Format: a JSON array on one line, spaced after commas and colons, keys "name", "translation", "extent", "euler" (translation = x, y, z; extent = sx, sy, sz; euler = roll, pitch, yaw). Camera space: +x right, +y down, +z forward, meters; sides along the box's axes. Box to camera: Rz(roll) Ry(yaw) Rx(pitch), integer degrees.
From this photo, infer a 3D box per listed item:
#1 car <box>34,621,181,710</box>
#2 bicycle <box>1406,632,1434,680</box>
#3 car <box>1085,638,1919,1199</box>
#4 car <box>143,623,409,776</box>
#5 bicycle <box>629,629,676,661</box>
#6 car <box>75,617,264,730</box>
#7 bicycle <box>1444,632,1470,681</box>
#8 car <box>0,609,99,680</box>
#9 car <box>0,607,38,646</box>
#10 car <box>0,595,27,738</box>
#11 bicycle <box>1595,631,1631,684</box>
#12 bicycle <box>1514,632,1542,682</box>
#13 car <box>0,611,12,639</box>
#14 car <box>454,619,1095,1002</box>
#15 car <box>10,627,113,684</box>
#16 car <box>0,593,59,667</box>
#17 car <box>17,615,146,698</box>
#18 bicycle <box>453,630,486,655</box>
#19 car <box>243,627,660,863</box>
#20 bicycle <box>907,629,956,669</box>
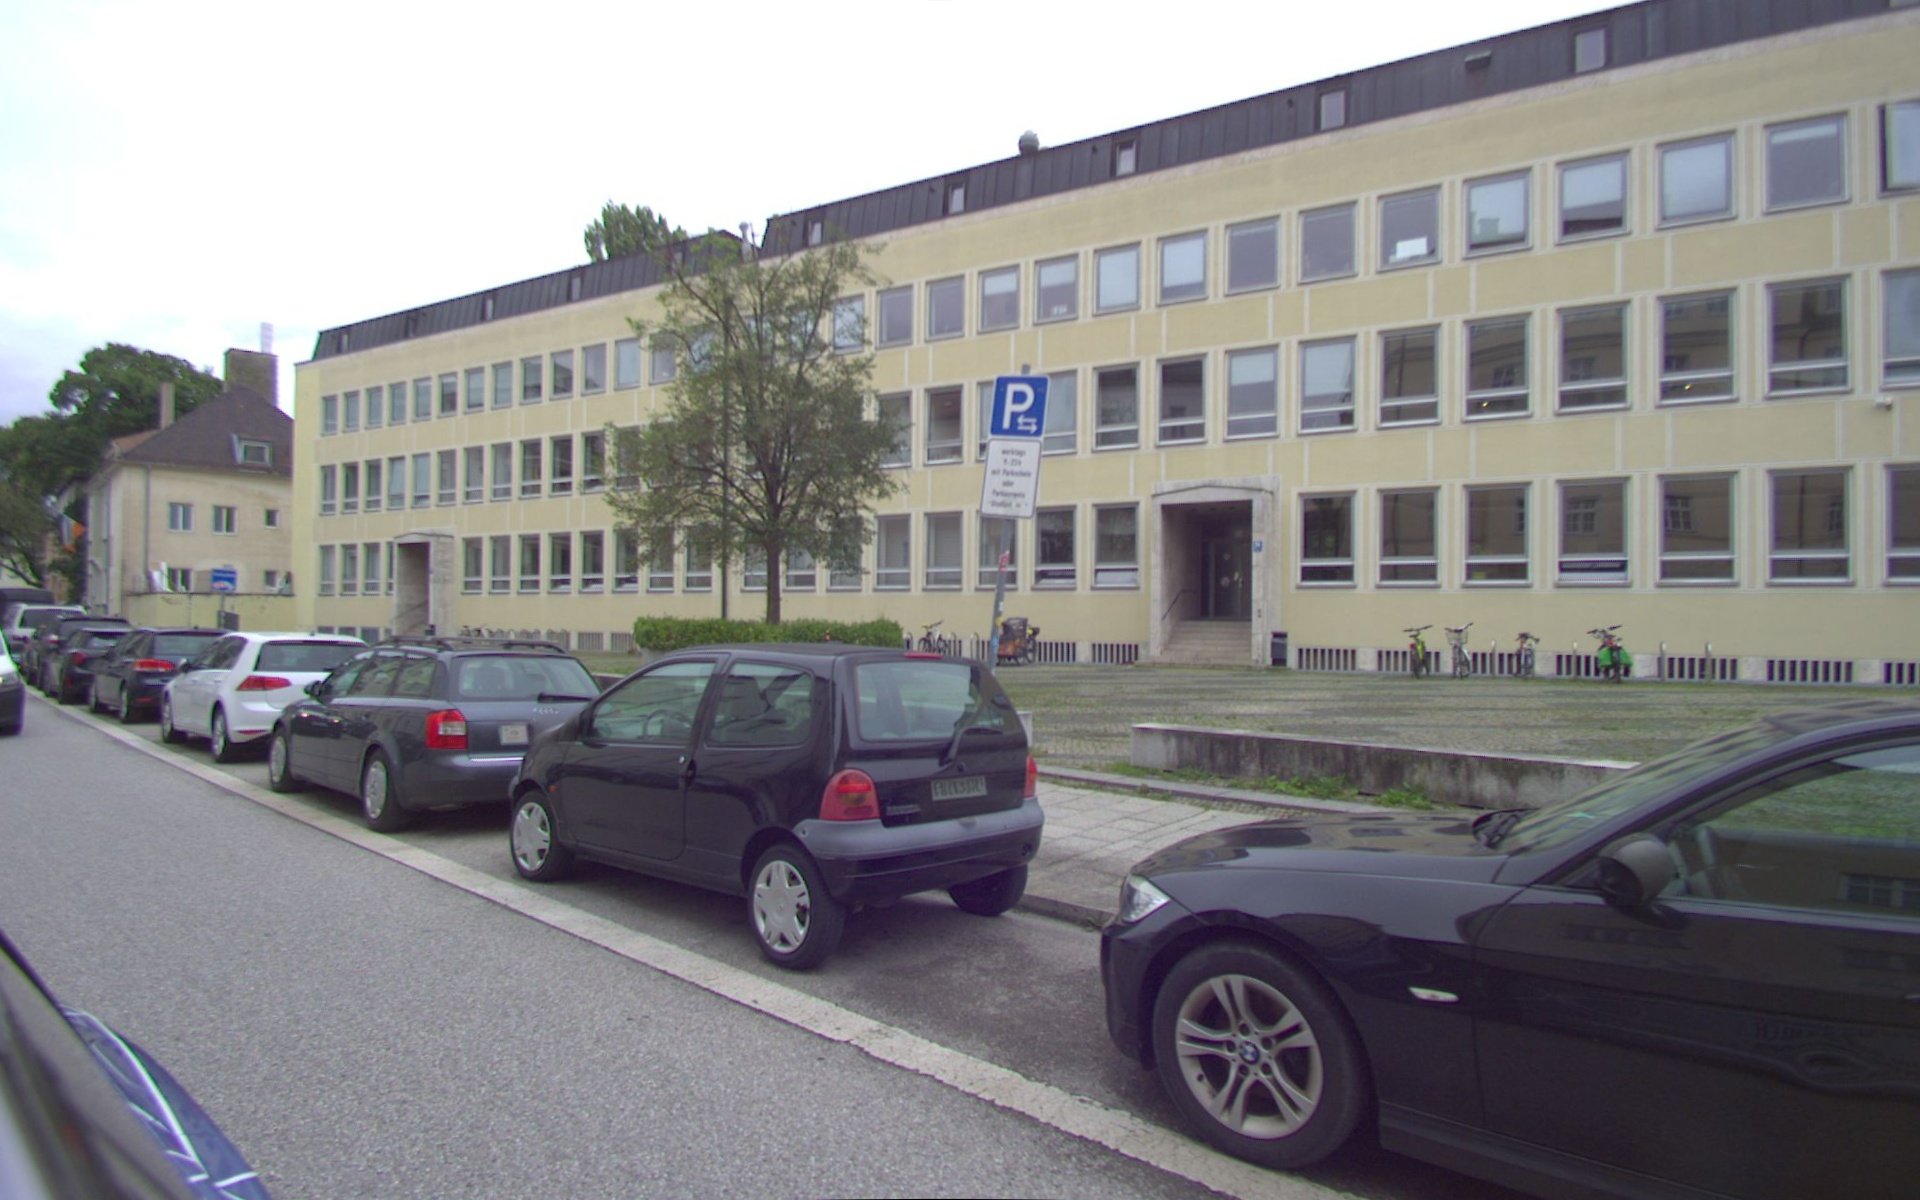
[{"name": "car", "translation": [-16.629, 1.191, 19.683], "extent": [3.685, 1.478, 1.721], "euler": [0, 1, 43]}, {"name": "bicycle", "translation": [10.033, 1.194, 22.043], "extent": [0.436, 0.924, 1.889], "euler": [-1, 0, 28]}, {"name": "car", "translation": [2.558, 0.852, 2.431], "extent": [4.208, 1.374, 1.704], "euler": [0, -4, 39]}, {"name": "car", "translation": [-8.492, 1.098, 12.446], "extent": [3.998, 1.541, 1.703], "euler": [0, -3, 41]}, {"name": "bicycle", "translation": [-10.595, 1.542, 34.932], "extent": [0.388, 0.997, 1.720], "euler": [-1, 0, 32]}, {"name": "car", "translation": [-13.022, 1.095, 16.586], "extent": [4.081, 1.557, 1.722], "euler": [0, 1, 42]}, {"name": "bicycle", "translation": [10.671, 1.198, 21.696], "extent": [0.436, 0.924, 1.889], "euler": [-1, 0, 28]}, {"name": "car", "translation": [-27.611, 1.295, 30.446], "extent": [4.354, 1.991, 1.923], "euler": [0, -3, 41]}, {"name": "car", "translation": [-52.909, 1.434, 56.185], "extent": [4.961, 2.098, 2.185], "euler": [0, 1, 44]}, {"name": "car", "translation": [-14.272, 0.816, 13.839], "extent": [4.926, 1.785, 1.858], "euler": [0, -2, 44]}, {"name": "bicycle", "translation": [13.116, 1.135, 20.356], "extent": [0.436, 0.924, 1.889], "euler": [-1, 0, 28]}, {"name": "bicycle", "translation": [11.828, 1.167, 21.096], "extent": [0.436, 0.924, 1.889], "euler": [-1, 0, 28]}, {"name": "car", "translation": [-75.631, 1.960, 78.949], "extent": [4.961, 2.098, 2.185], "euler": [0, 1, 44]}, {"name": "car", "translation": [-1.263, 0.891, 5.919], "extent": [3.752, 1.492, 1.703], "euler": [0, -3, 41]}, {"name": "car", "translation": [-24.563, 1.476, 27.628], "extent": [3.455, 1.415, 1.721], "euler": [0, -3, 43]}, {"name": "car", "translation": [-36.934, 1.120, 39.698], "extent": [4.961, 2.737, 1.971], "euler": [0, 0, 44]}, {"name": "car", "translation": [-20.270, 1.241, 23.297], "extent": [4.122, 1.701, 1.721], "euler": [0, -3, 43]}, {"name": "bicycle", "translation": [-19.137, 1.661, 39.506], "extent": [0.287, 0.909, 1.232], "euler": [-1, 0, 28]}, {"name": "car", "translation": [-4.509, 1.026, 8.684], "extent": [4.203, 1.492, 1.703], "euler": [0, -3, 41]}, {"name": "bicycle", "translation": [-0.801, 1.380, 28.807], "extent": [0.572, 1.036, 1.820], "euler": [-1, 0, 27]}]
